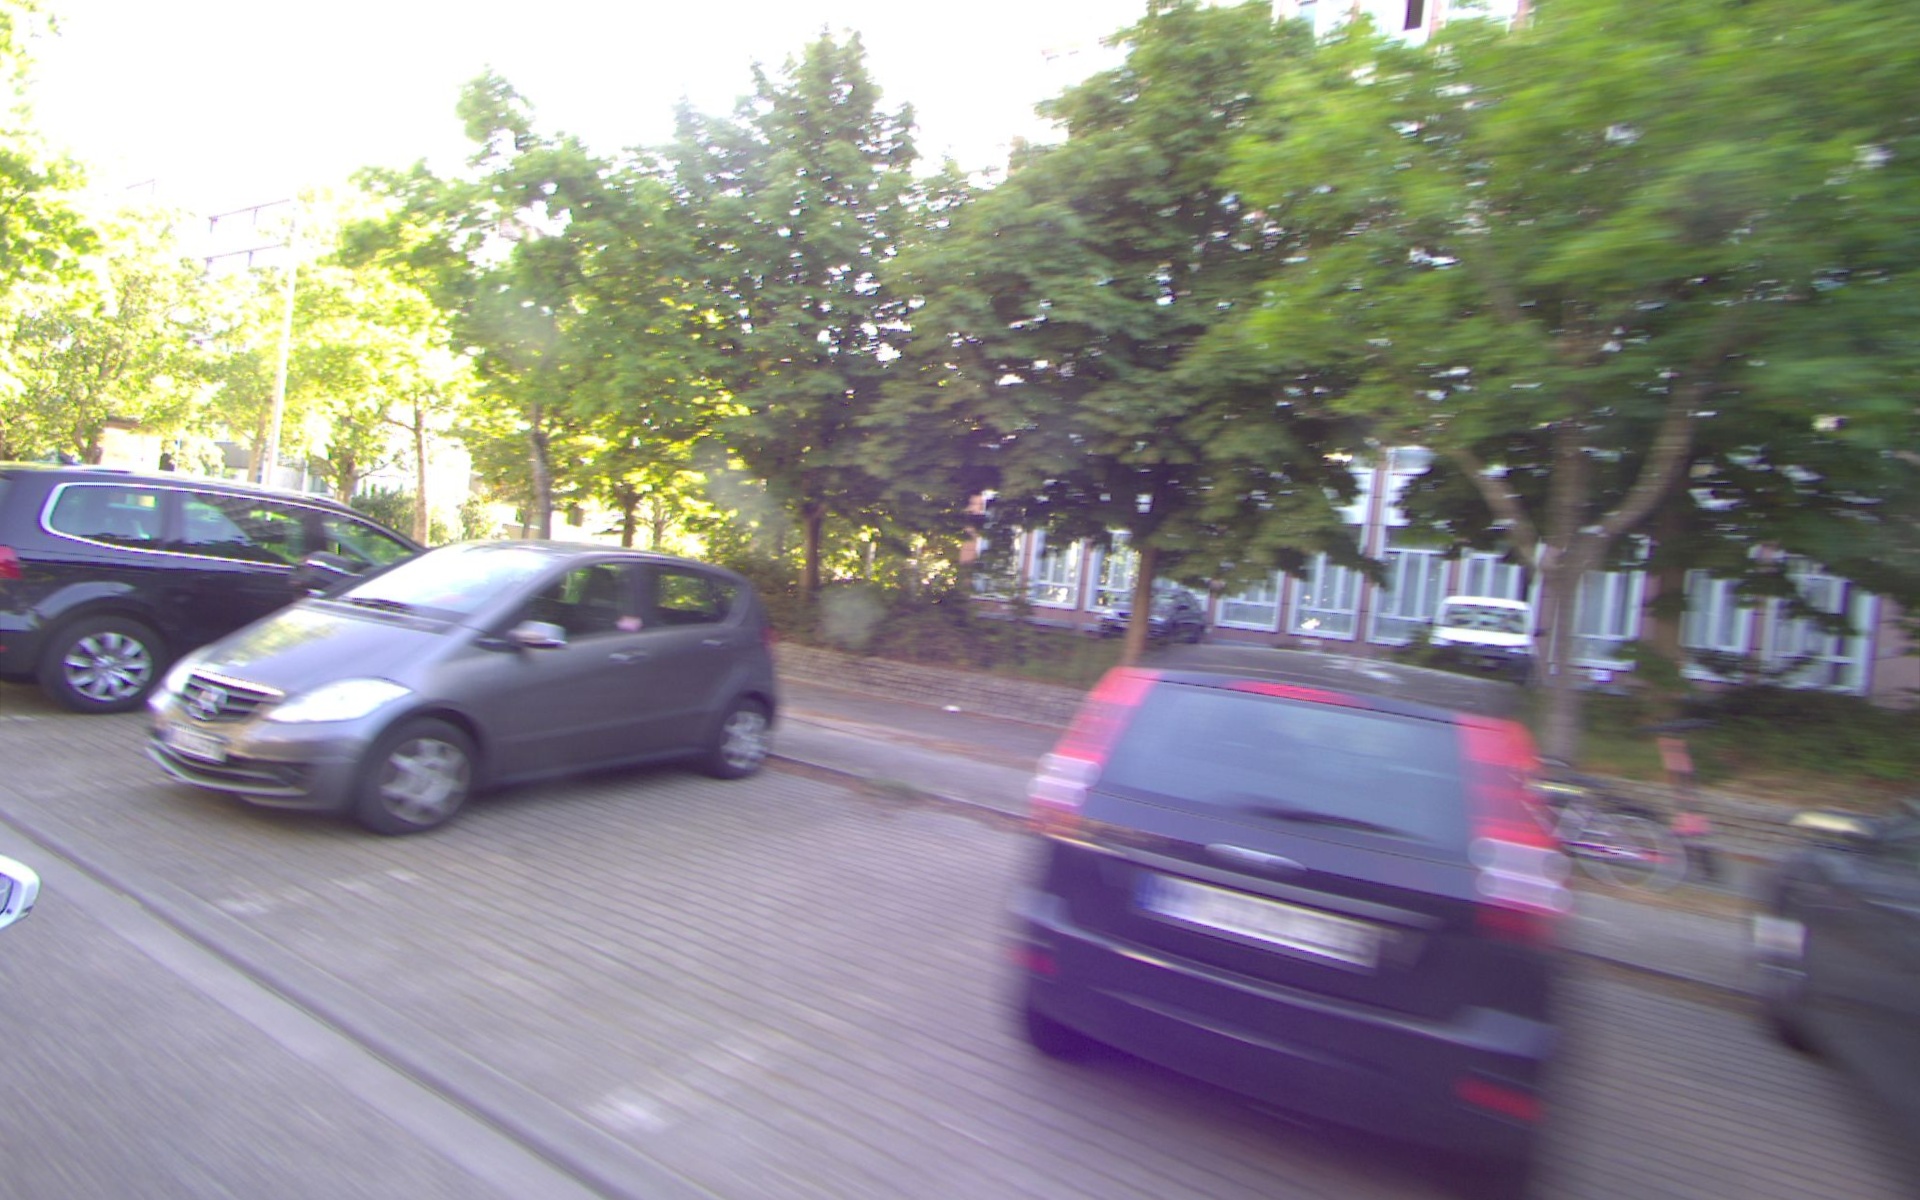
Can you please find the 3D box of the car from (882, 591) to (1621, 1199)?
[{"bbox_3d":[1.403,0.900,4.247,1.694,1.499,3.719,6,0,26],"label":"car"}]

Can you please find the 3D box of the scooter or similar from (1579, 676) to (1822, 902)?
[{"bbox_3d":[5.497,1.366,7.549,1.292,1.418,0.415,7,-1,29],"label":"scooter or similar"}]

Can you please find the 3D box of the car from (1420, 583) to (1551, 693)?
[{"bbox_3d":[10.162,0.826,19.555,1.843,1.706,4.728,7,-1,27],"label":"car"}]

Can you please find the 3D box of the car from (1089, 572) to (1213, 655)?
[{"bbox_3d":[4.568,0.381,23.563,1.694,1.524,4.236,7,-1,26],"label":"car"}]

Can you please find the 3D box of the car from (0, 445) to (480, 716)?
[{"bbox_3d":[-6.204,-0.105,8.210,1.697,1.773,3.674,6,0,34],"label":"car"}]

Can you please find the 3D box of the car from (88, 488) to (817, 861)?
[{"bbox_3d":[-2.853,0.391,6.600,1.777,1.584,3.878,6,0,27],"label":"car"}]

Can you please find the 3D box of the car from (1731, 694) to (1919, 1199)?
[{"bbox_3d":[3.612,1.162,2.617,1.828,1.571,4.429,7,-1,30],"label":"car"}]

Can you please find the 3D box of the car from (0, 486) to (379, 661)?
[{"bbox_3d":[-8.319,-0.263,10.240,1.564,1.466,3.838,9,3,29],"label":"car"}]

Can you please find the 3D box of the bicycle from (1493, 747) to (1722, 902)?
[{"bbox_3d":[4.528,1.550,7.106,1.256,0.783,0.334,7,0,31],"label":"bicycle"}]

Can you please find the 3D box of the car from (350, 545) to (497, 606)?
[{"bbox_3d":[-18.298,-0.803,34.473,1.804,1.548,3.995,7,-1,30],"label":"car"}]

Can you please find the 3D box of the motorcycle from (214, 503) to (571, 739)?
[{"bbox_3d":[-4.433,0.200,8.094,0.754,1.600,2.310,7,0,33],"label":"motorcycle"}]
